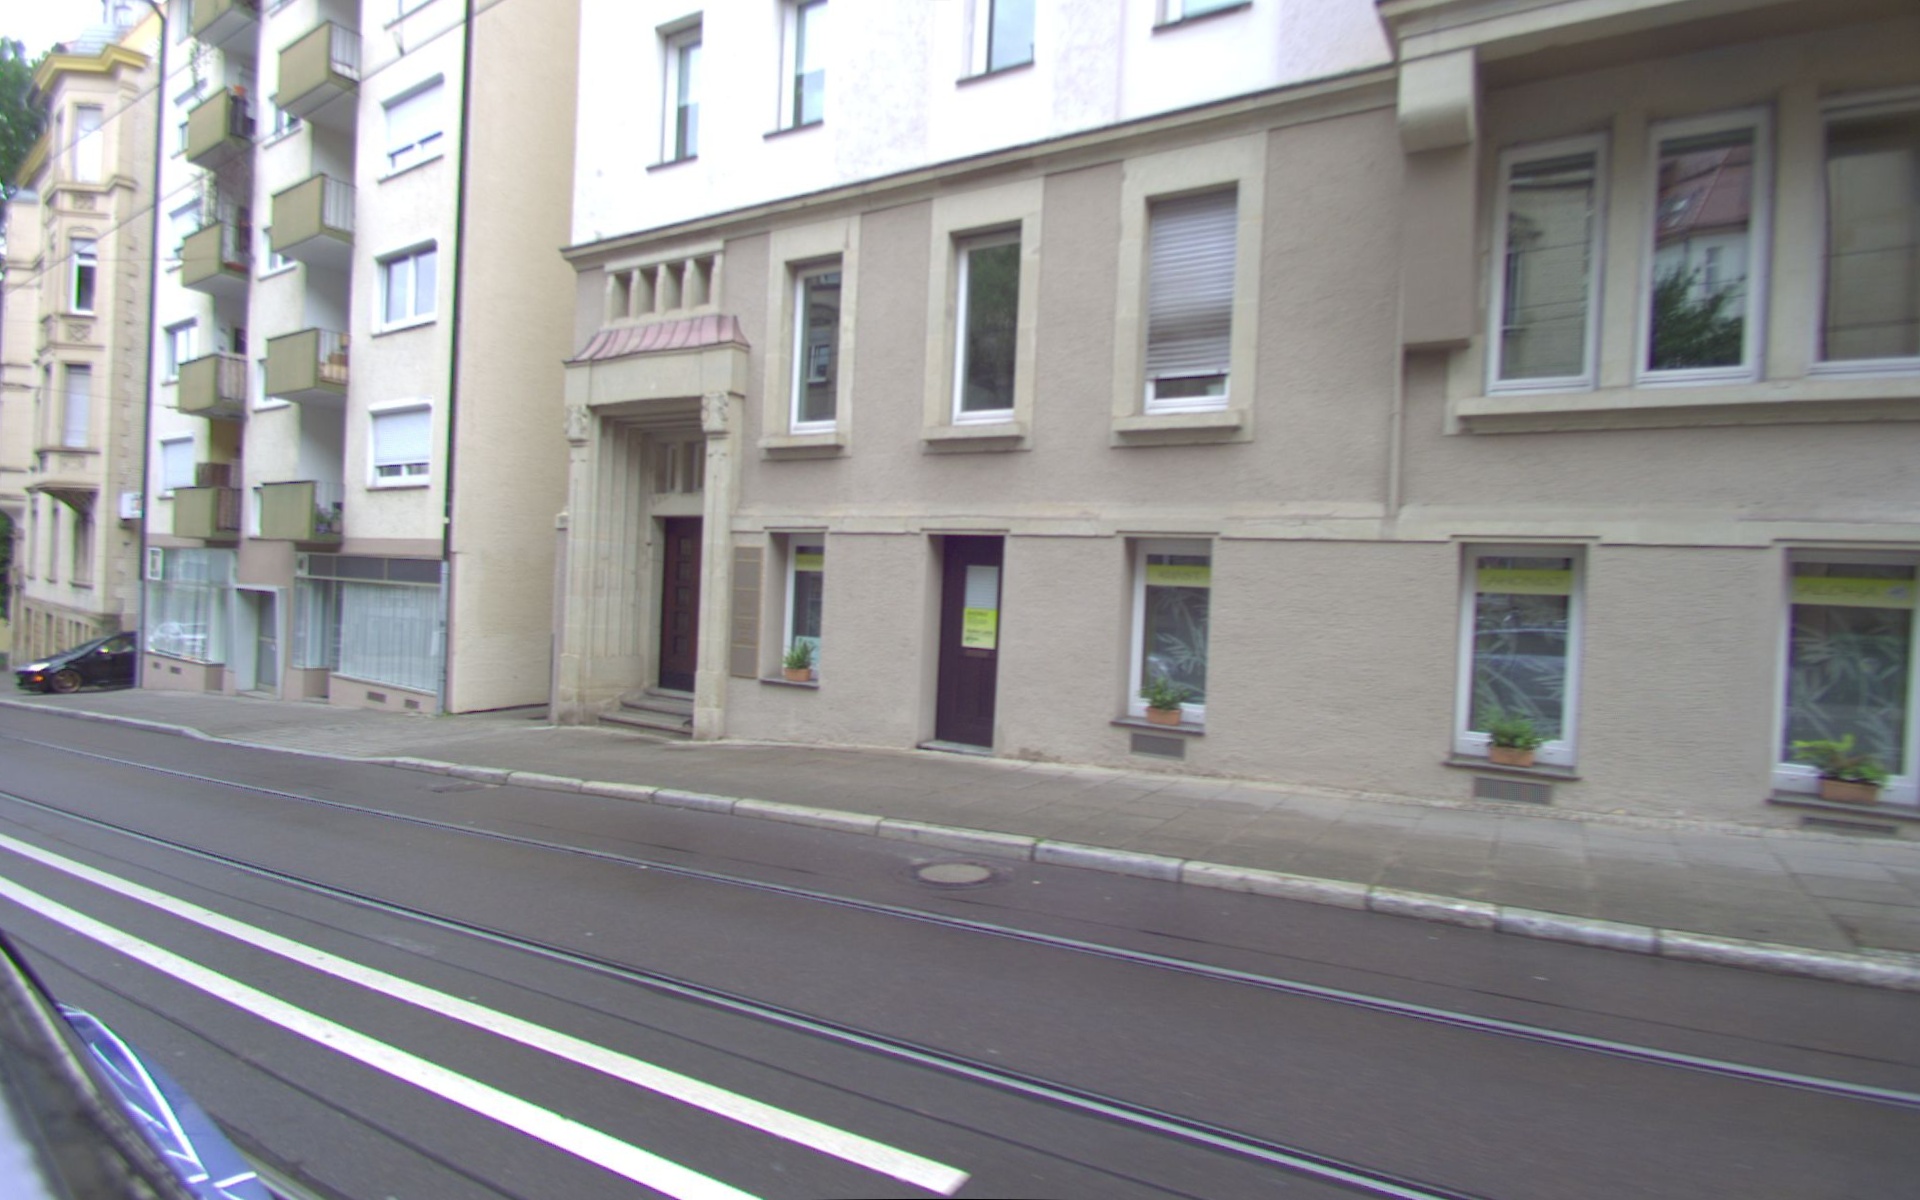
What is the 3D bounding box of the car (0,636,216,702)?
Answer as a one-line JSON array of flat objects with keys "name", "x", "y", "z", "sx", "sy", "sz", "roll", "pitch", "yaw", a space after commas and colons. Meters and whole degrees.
[{"name": "car", "x": -21.178, "y": 1.649, "z": 25.193, "sx": 1.738, "sy": 1.465, "sz": 3.949, "roll": -1, "pitch": -2, "yaw": 37}]
